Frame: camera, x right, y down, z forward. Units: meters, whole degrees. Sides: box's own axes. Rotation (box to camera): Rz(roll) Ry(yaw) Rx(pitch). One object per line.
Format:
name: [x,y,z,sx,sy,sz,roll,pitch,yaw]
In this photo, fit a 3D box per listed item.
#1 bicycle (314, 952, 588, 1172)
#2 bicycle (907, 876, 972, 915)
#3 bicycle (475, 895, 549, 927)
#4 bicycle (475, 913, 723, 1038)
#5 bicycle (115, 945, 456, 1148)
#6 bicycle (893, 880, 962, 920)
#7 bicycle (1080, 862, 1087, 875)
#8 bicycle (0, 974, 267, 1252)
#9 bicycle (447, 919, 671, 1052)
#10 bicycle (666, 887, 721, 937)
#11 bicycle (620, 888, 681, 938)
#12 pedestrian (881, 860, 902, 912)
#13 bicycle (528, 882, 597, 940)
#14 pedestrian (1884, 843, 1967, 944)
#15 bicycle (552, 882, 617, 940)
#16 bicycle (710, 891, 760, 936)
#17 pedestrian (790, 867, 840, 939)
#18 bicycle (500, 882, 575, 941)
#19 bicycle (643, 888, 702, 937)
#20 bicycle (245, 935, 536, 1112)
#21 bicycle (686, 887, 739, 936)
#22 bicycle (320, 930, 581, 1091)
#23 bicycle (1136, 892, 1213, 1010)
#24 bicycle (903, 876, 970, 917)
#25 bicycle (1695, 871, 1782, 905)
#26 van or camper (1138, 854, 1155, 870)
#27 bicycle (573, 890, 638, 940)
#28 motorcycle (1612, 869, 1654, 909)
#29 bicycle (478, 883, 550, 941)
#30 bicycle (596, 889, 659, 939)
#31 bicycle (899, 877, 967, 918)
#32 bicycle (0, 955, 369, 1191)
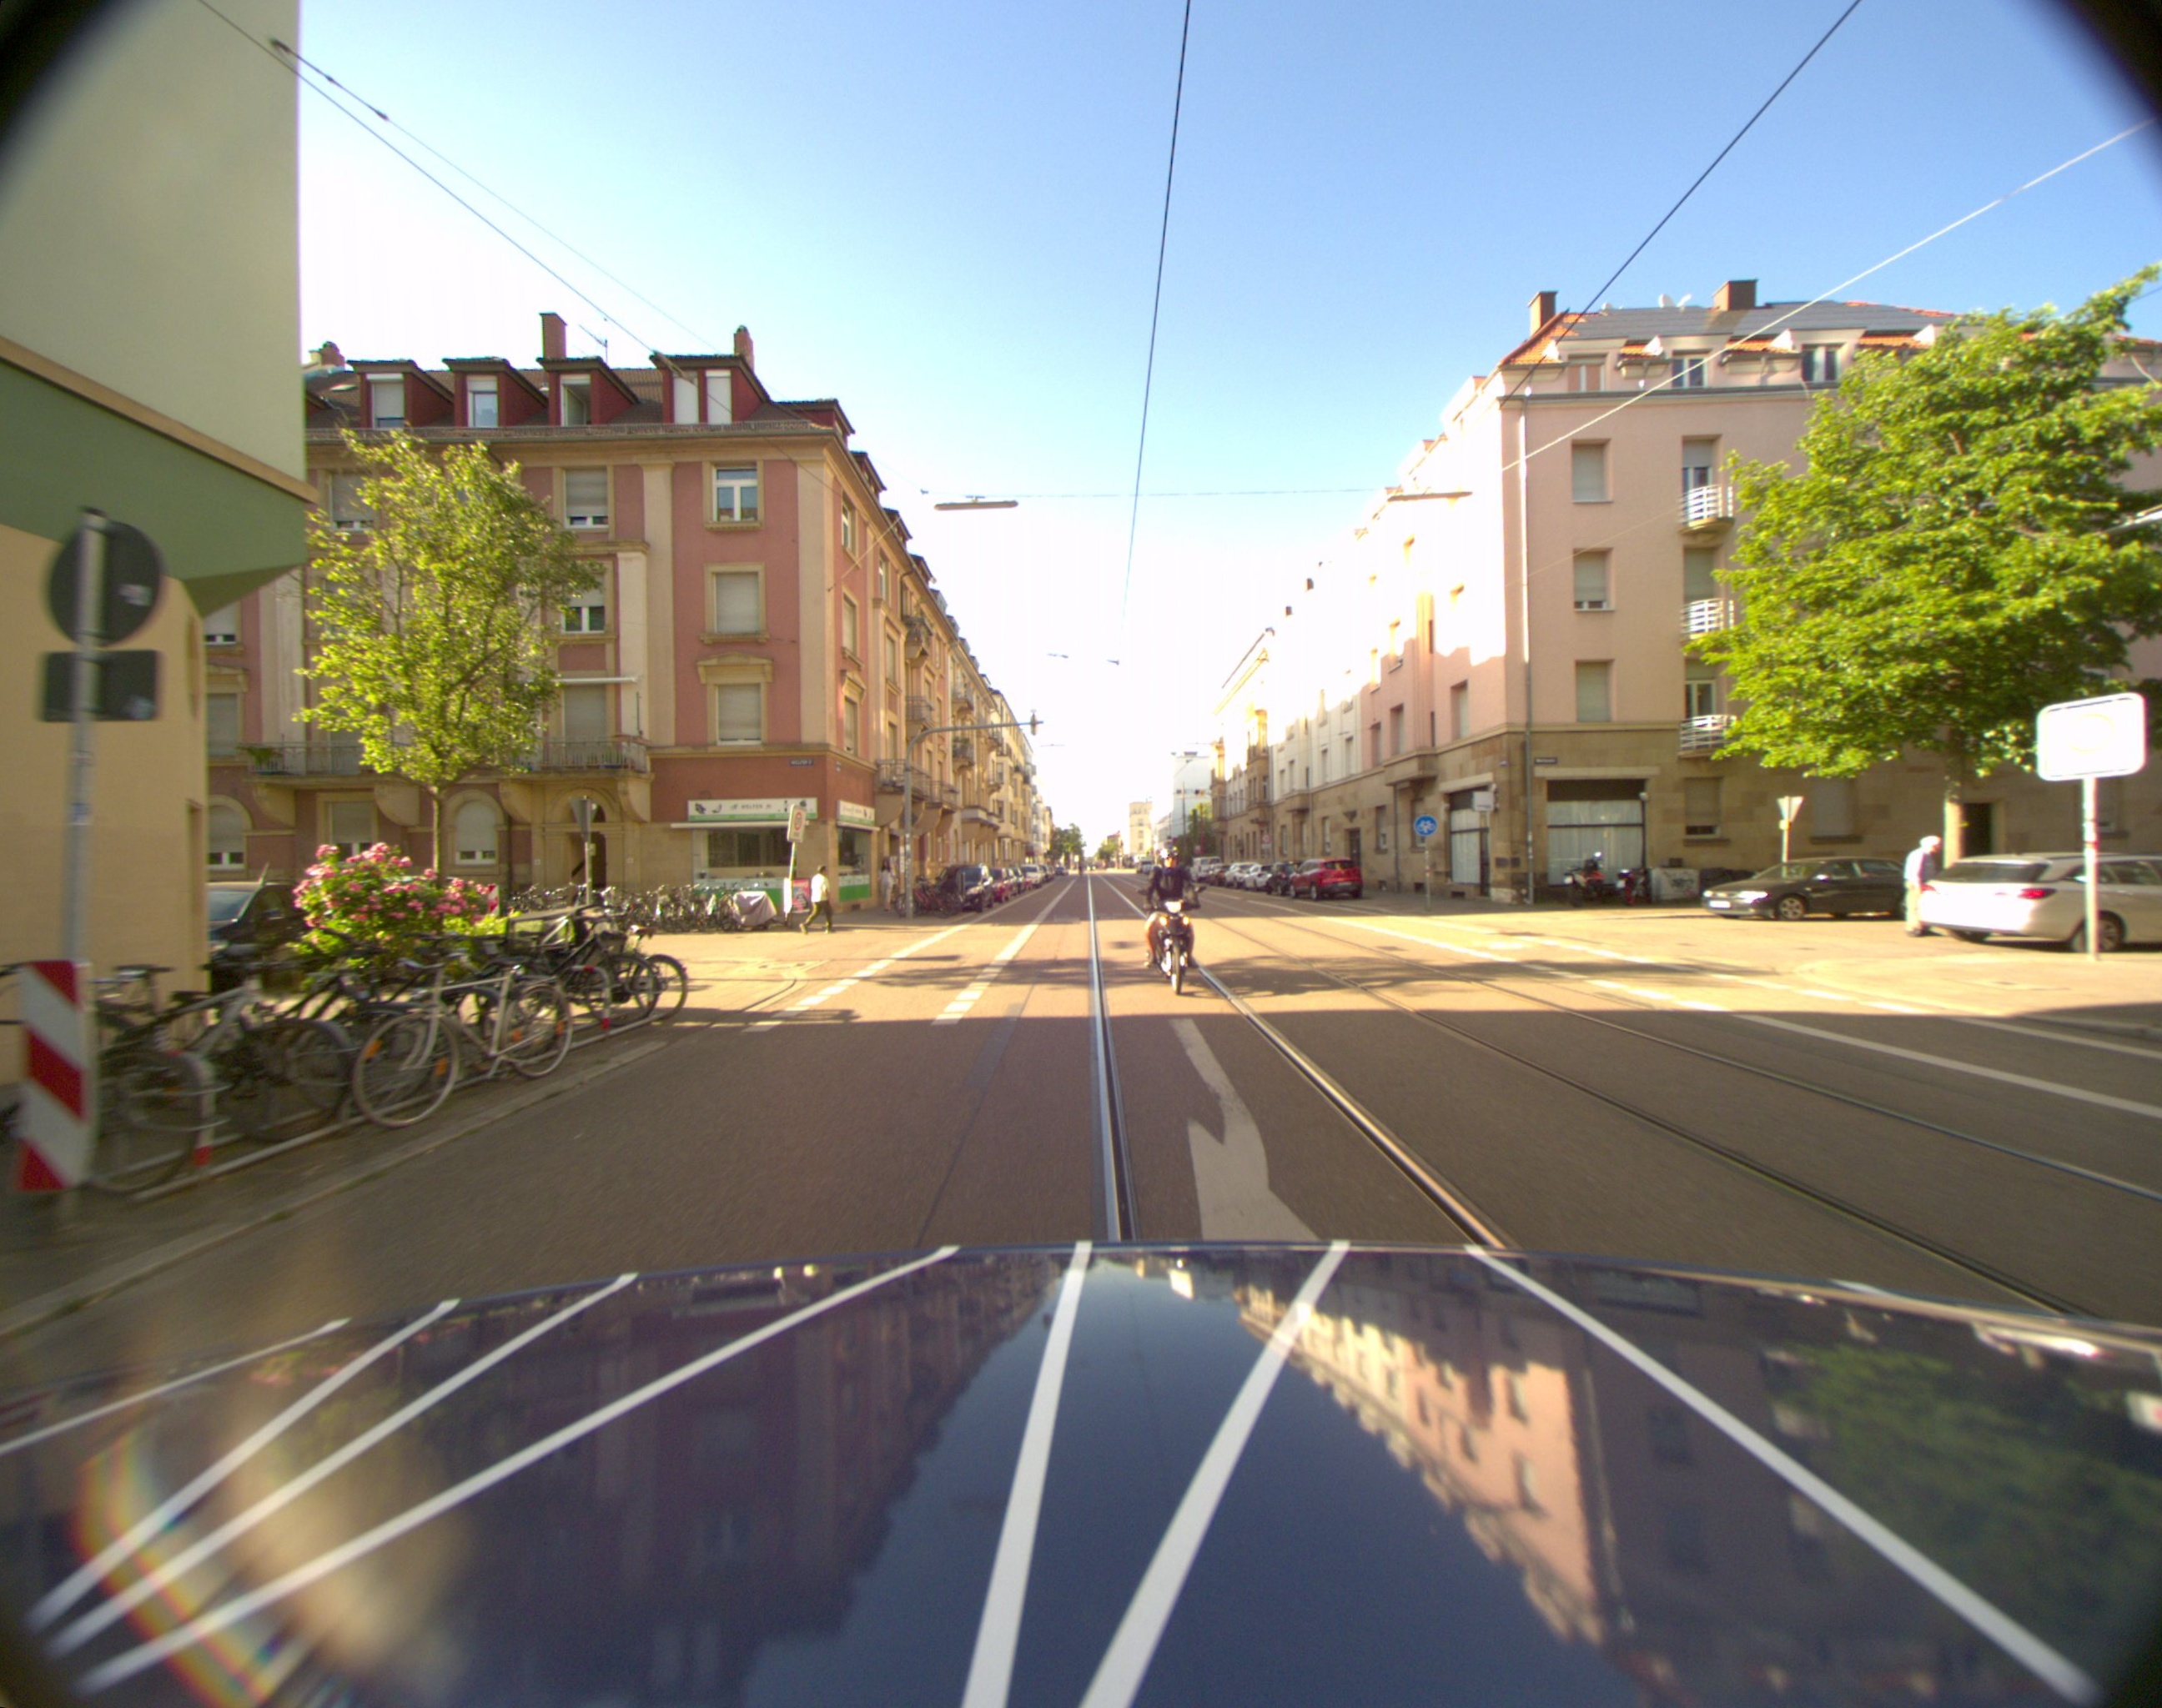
bicycle: [-4.131,1.289,5.169,0.353,1.038,1.729,-1,0,2]
bicycle: [-4.468,1.307,24.100,1.964,1.220,0.527,0,0,1]
bicycle: [-16.310,1.633,21.797,1.727,0.874,0.490,-1,0,0]
bicycle: [-5.096,1.266,8.129,2.091,1.148,0.848,1,0,1]
bicycle: [-5.172,1.229,4.986,1.727,1.148,0.469,2,0,1]
bicycle: [-4.503,1.359,22.388,1.928,1.154,0.527,0,0,1]
bicycle: [0.306,1.868,97.794,0.775,1.700,1.937,-2,0,0]
bicycle: [-5.127,1.221,3.737,1.727,1.148,0.469,2,0,1]
bicycle: [-5.083,1.269,7.450,1.847,1.148,0.469,2,0,1]
bicycle: [-9.883,1.449,19.437,0.469,1.147,1.728,-1,0,1]
bicycle: [-10.990,1.491,19.439,0.545,1.147,1.728,-1,0,1]
pedestrian: [-6.180,1.047,24.781,0.514,1.677,0.448,-1,0,0]
bicycle: [-13.255,1.431,19.492,0.545,1.374,1.728,-1,0,1]
pedestrian: [14.678,0.674,13.221,0.608,1.702,0.732,-1,0,0]
bicycle: [-12.690,1.427,19.487,0.491,1.374,1.728,-1,0,1]
bicycle: [-8.872,1.503,19.539,0.469,1.043,1.728,-1,0,1]
pedestrian: [-6.293,1.140,17.966,0.730,1.624,0.704,-3,2,32]
bicycle: [-13.866,1.442,19.450,0.628,1.374,1.728,-1,0,0]
bicycle: [-10.417,1.467,19.446,0.545,1.147,1.728,-1,0,1]
bicycle: [-5.107,1.235,5.665,1.727,1.148,0.469,2,0,1]
bicycle: [-9.384,1.445,19.425,0.469,1.147,1.728,-1,0,1]
bicycle: [-5.117,1.253,6.213,1.727,1.148,0.469,2,0,1]
bicycle: [1.076,1.093,9.079,0.767,1.191,1.753,-1,0,3]
bicycle: [-4.470,1.305,23.528,1.964,1.220,0.527,0,0,1]
bicycle: [18.445,0.954,21.348,1.788,0.927,0.615,-1,0,9]
van or camper: [10.806,1.337,125.403,2.177,2.452,6.232,-3,0,0]
bicycle: [-12.142,1.543,19.476,0.545,1.147,1.728,-1,0,1]
motorcycle: [15.501,0.967,21.298,2.040,1.029,0.555,-1,0,-43]
bicycle: [-14.555,1.454,19.561,0.545,1.374,1.728,-1,0,1]
bicycle: [-11.560,1.500,19.447,0.545,1.147,1.728,-1,0,1]
bicycle: [-4.459,1.304,22.967,1.964,1.220,0.527,0,0,1]
bicycle: [-5.183,1.221,4.365,1.727,1.148,0.469,2,0,1]
